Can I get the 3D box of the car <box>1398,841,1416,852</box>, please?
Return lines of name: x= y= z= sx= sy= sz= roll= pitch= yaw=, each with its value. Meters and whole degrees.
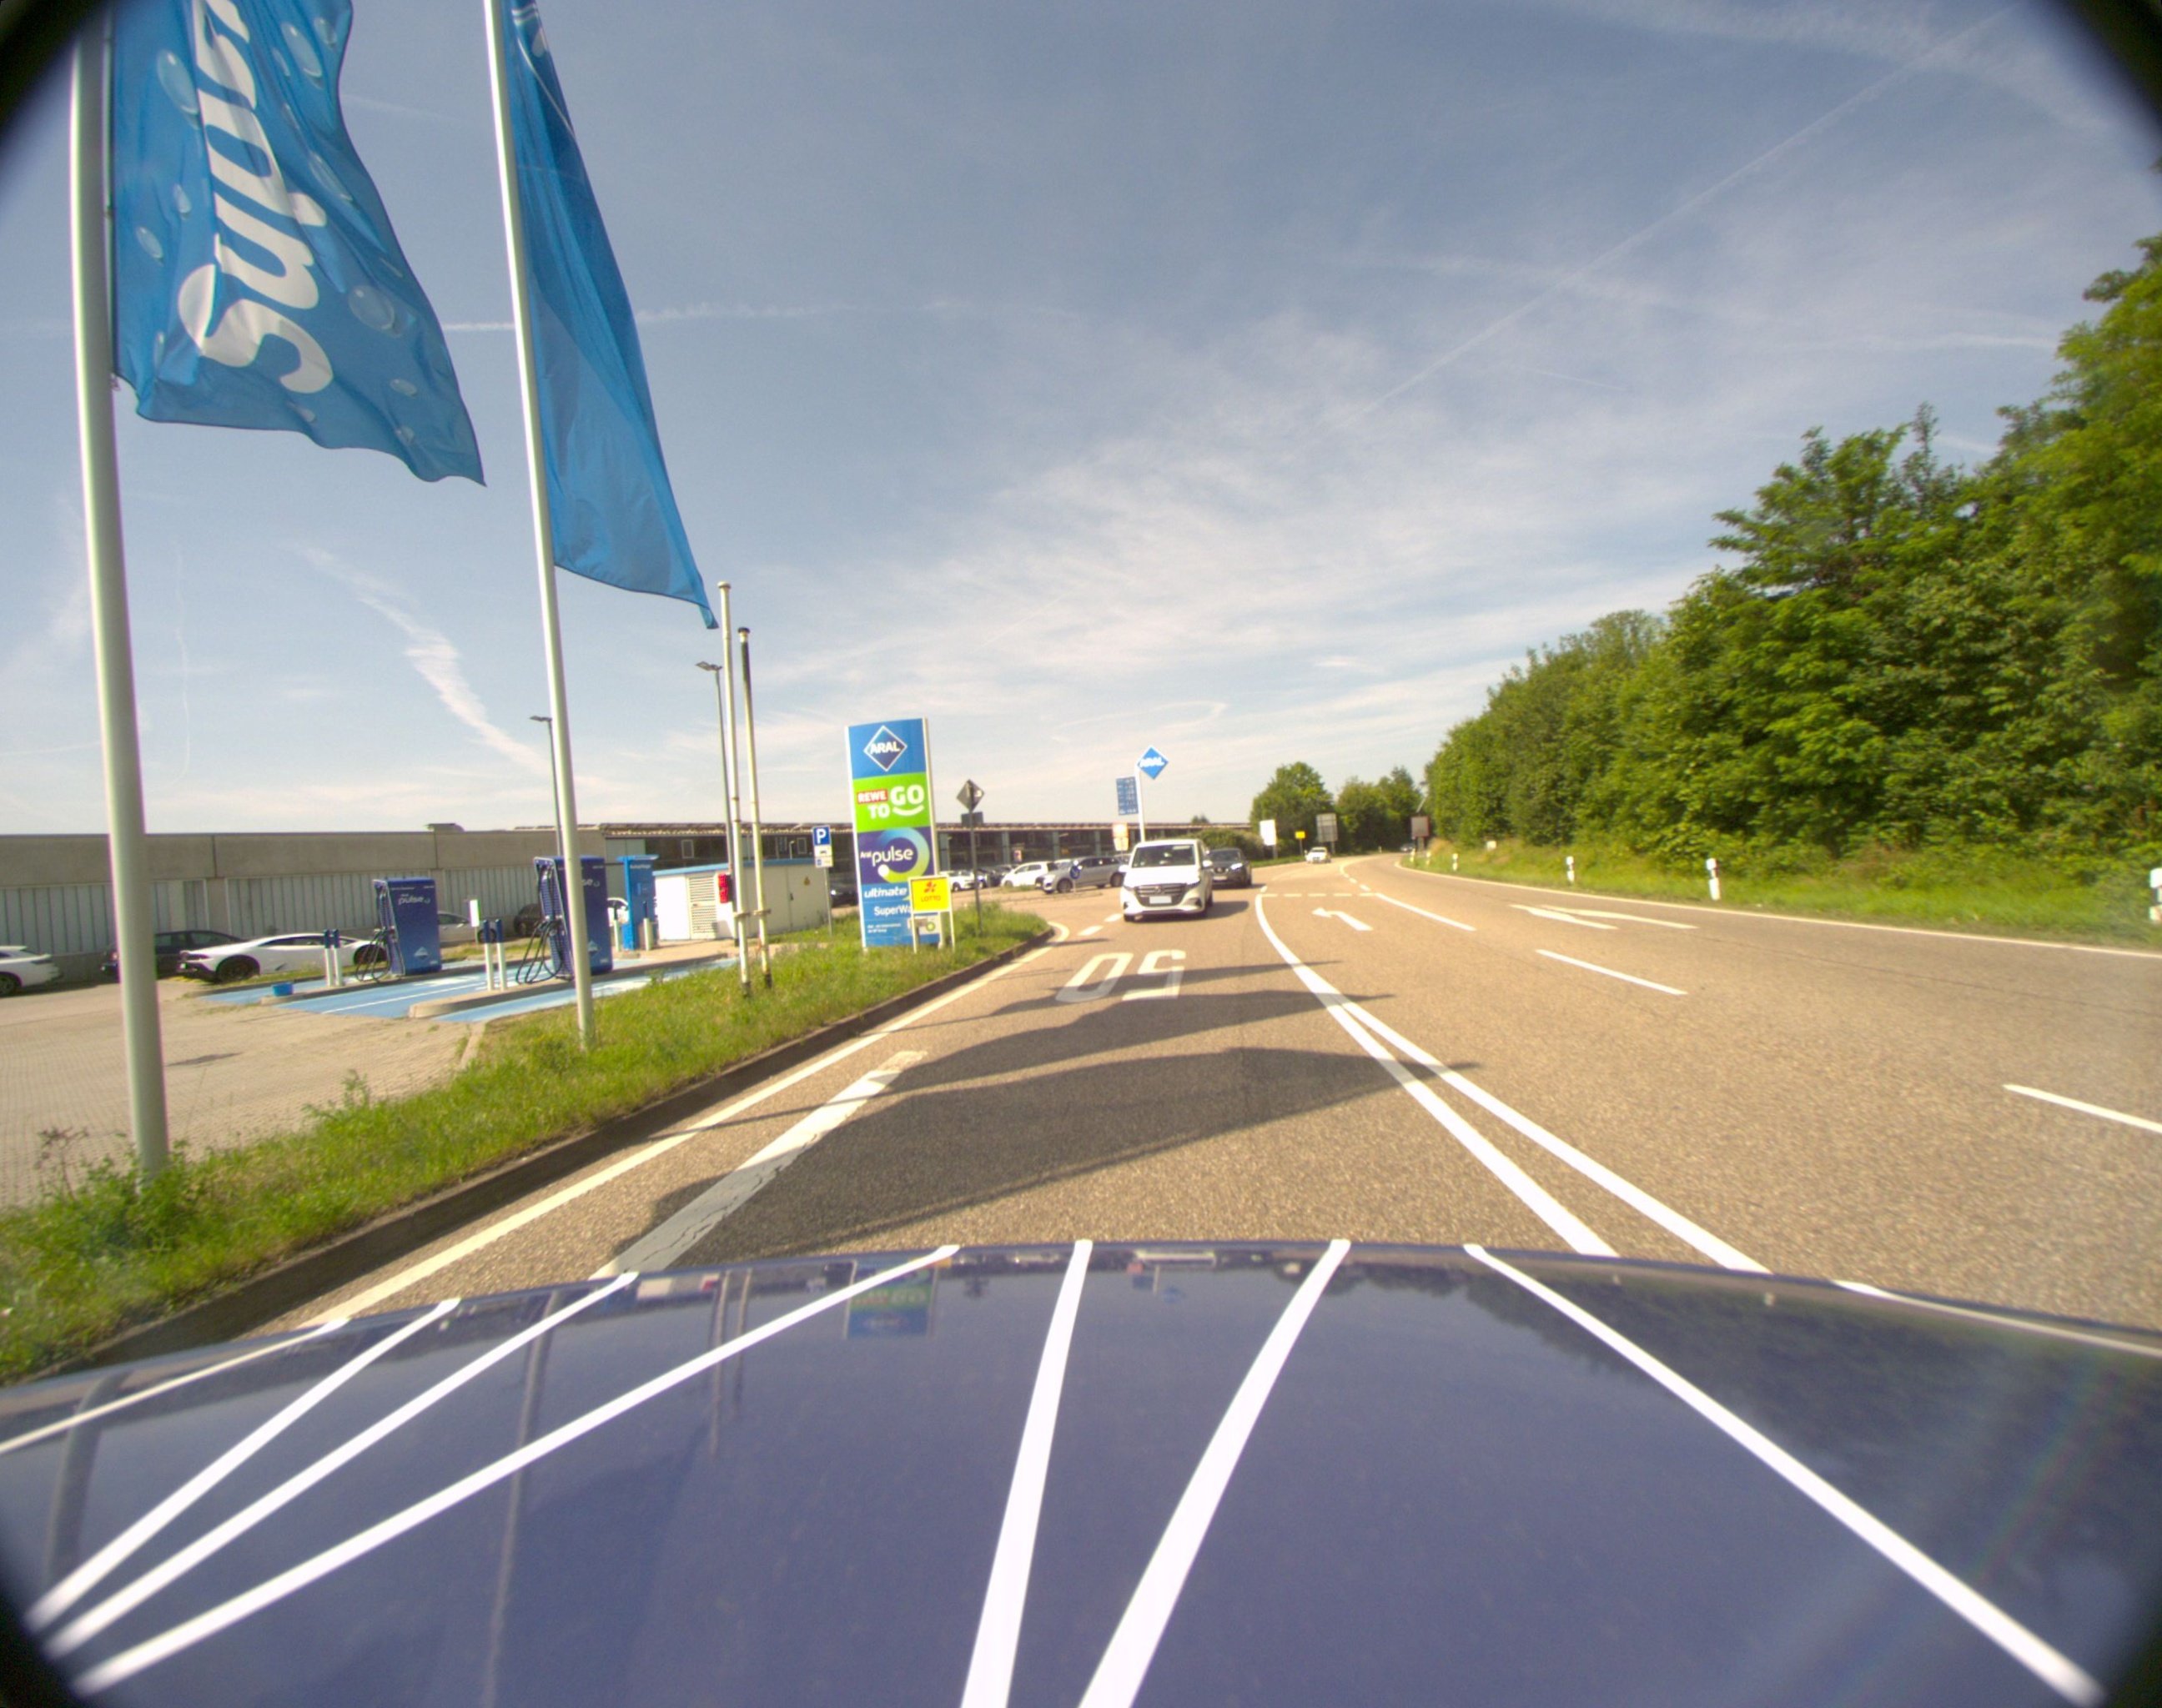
car: x=52.725 y=-1.199 z=122.779 sx=1.864 sy=1.631 sz=4.429 roll=-4 pitch=0 yaw=34

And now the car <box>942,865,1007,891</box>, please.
car: x=-7.651 y=1.737 z=54.631 sx=4.454 sy=1.628 sz=1.826 roll=-4 pitch=-1 yaw=34

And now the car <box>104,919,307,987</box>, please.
car: x=-28.320 y=3.137 z=24.719 sx=1.885 sy=1.595 sz=4.028 roll=-4 pitch=0 yaw=33

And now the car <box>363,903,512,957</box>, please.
car: x=-25.017 y=2.889 z=29.670 sx=1.885 sy=1.595 sz=4.028 roll=-4 pitch=0 yaw=37

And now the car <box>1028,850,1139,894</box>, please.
car: x=0.161 y=0.902 z=38.854 sx=5.248 sy=1.820 sz=1.996 roll=-4 pitch=0 yaw=-27

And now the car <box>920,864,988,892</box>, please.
car: x=-8.765 y=1.666 z=52.334 sx=4.454 sy=1.628 sz=1.826 roll=-4 pitch=-1 yaw=34

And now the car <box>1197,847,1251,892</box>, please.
car: x=5.656 y=0.546 z=29.717 sx=1.819 sy=1.532 sz=3.730 roll=-4 pitch=0 yaw=13

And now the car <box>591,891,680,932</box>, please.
car: x=-20.116 y=2.575 z=34.262 sx=4.011 sy=1.595 sz=1.894 roll=-4 pitch=0 yaw=36

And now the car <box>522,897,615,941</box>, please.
car: x=-21.659 y=2.716 z=32.077 sx=4.011 sy=1.595 sz=1.894 roll=-4 pitch=0 yaw=36

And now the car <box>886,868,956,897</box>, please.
car: x=-10.660 y=1.904 z=50.518 sx=4.454 sy=1.628 sz=1.826 roll=-4 pitch=-1 yaw=34

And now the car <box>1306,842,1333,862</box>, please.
car: x=21.908 y=-0.171 z=69.666 sx=1.865 sy=1.631 sz=4.428 roll=-4 pitch=0 yaw=23

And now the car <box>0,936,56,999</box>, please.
car: x=-30.959 y=3.237 z=19.968 sx=1.886 sy=1.595 sz=4.538 roll=-4 pitch=0 yaw=30

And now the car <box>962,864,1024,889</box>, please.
car: x=-6.624 y=1.659 z=56.914 sx=4.454 sy=1.628 sz=1.826 roll=-4 pitch=-1 yaw=34

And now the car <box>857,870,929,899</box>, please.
car: x=-12.018 y=1.953 z=48.437 sx=4.454 sy=1.628 sz=1.826 roll=-4 pitch=-1 yaw=34

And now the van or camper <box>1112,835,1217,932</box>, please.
van or camper: x=2.264 y=0.618 z=19.171 sx=1.997 sy=2.002 sz=5.294 roll=-4 pitch=0 yaw=12

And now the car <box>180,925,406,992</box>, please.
car: x=-22.231 y=2.879 z=21.616 sx=1.695 sy=1.245 sz=4.133 roll=-4 pitch=0 yaw=33

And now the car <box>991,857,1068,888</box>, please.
car: x=-3.115 y=1.132 z=45.866 sx=4.248 sy=1.628 sz=1.826 roll=-4 pitch=-1 yaw=28

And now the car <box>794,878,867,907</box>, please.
car: x=-14.400 y=2.229 z=43.636 sx=4.035 sy=1.449 sz=1.826 roll=-4 pitch=-1 yaw=34
